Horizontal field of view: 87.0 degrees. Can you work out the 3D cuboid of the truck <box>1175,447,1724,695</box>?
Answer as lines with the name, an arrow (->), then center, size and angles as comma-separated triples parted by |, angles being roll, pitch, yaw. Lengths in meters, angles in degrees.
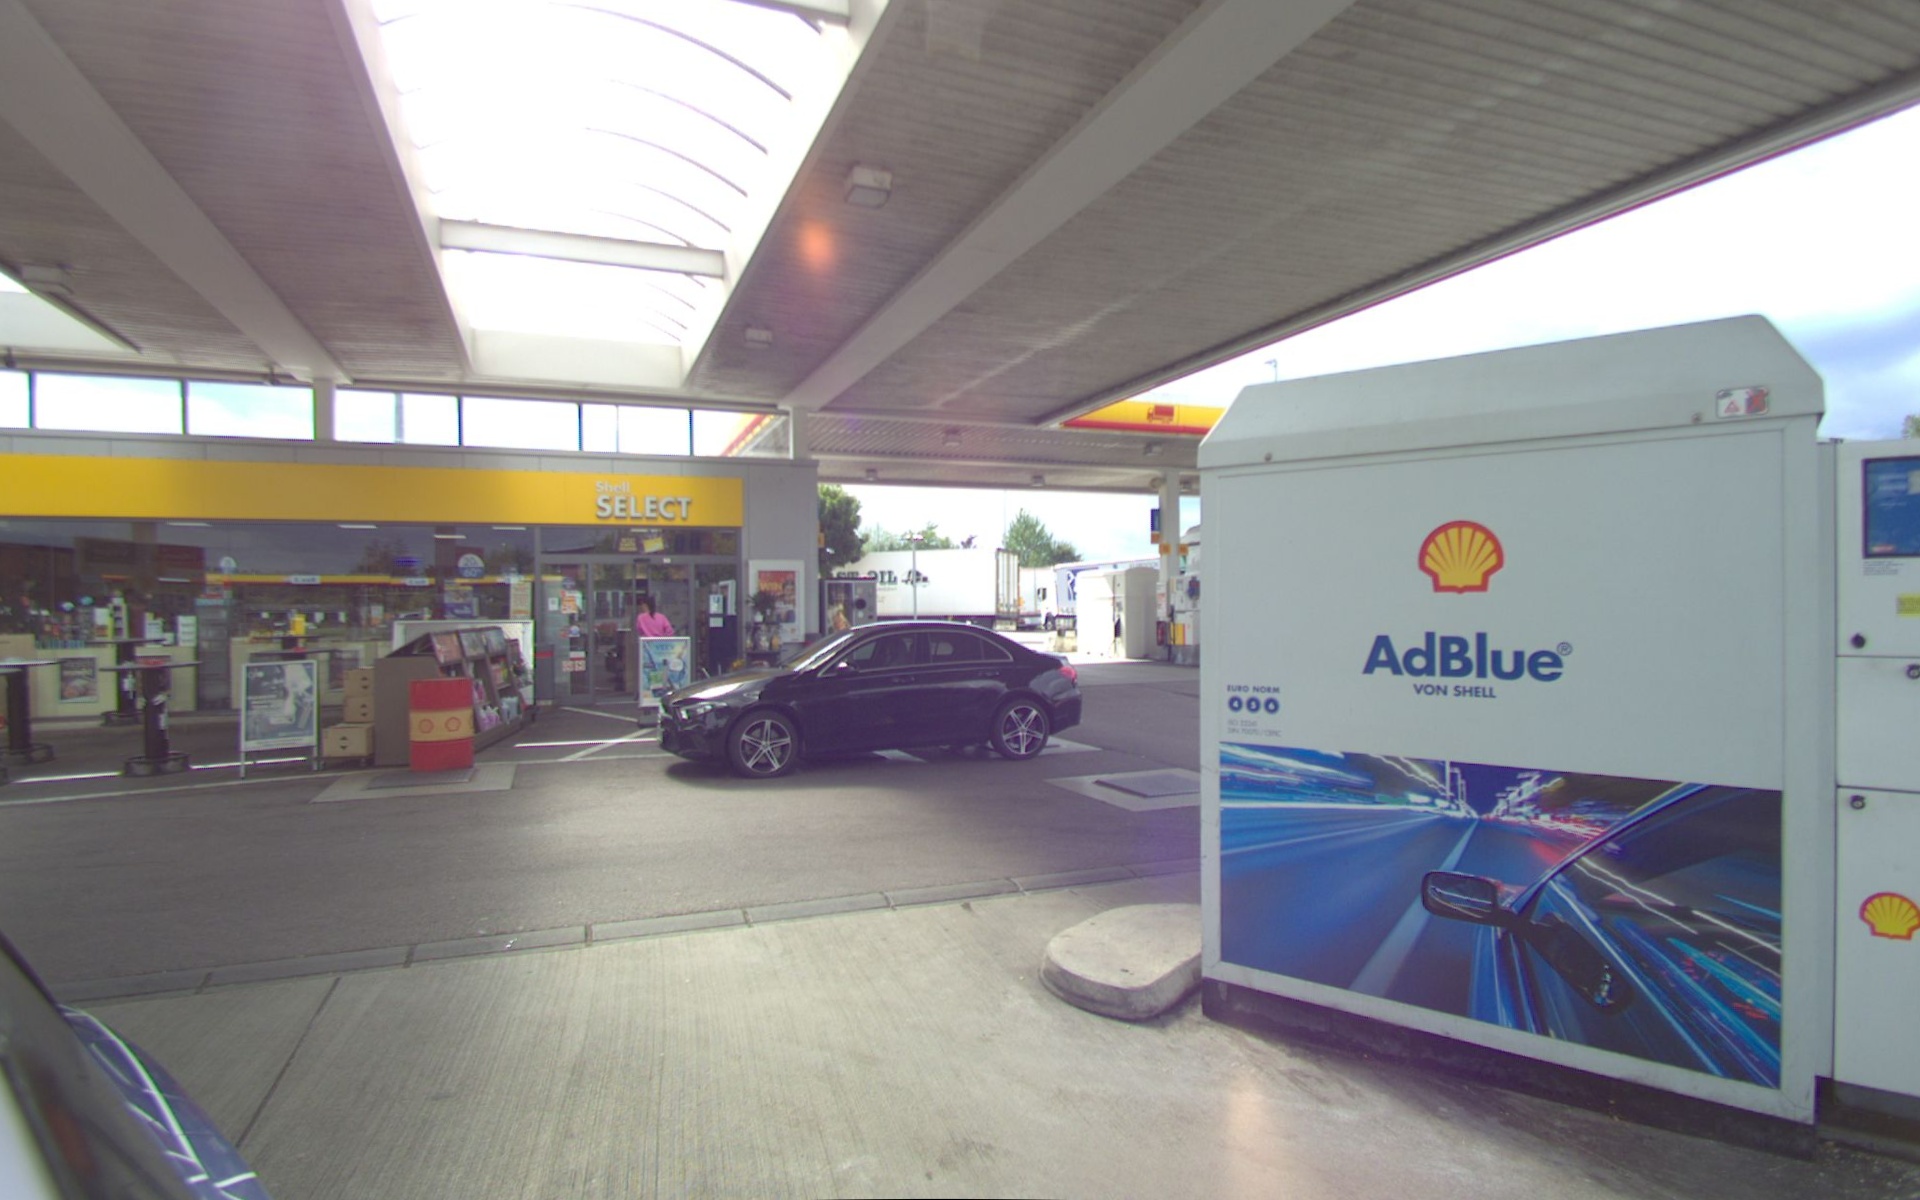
truck -> 9.666, -0.465, 23.101 | 2.491, 4.069, 12.947 | -1, 0, -22

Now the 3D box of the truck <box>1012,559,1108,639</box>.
truck -> 5.938, -0.048, 61.220 | 3.333, 4.538, 6.249 | -1, 0, -20

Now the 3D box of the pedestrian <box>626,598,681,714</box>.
pedestrian -> -4.722, 0.843, 15.571 | 0.617, 1.726, 0.624 | -1, 0, -36

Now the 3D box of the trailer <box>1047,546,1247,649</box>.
trailer -> 9.115, -0.099, 52.672 | 3.294, 4.600, 14.397 | -1, 0, -20

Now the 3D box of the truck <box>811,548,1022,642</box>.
truck -> -2.093, -0.182, 46.839 | 9.536, 4.036, 2.772 | -1, 0, 25

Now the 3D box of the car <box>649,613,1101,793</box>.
car -> -0.904, 0.940, 10.661 | 4.394, 1.511, 1.785 | -1, 0, -21
